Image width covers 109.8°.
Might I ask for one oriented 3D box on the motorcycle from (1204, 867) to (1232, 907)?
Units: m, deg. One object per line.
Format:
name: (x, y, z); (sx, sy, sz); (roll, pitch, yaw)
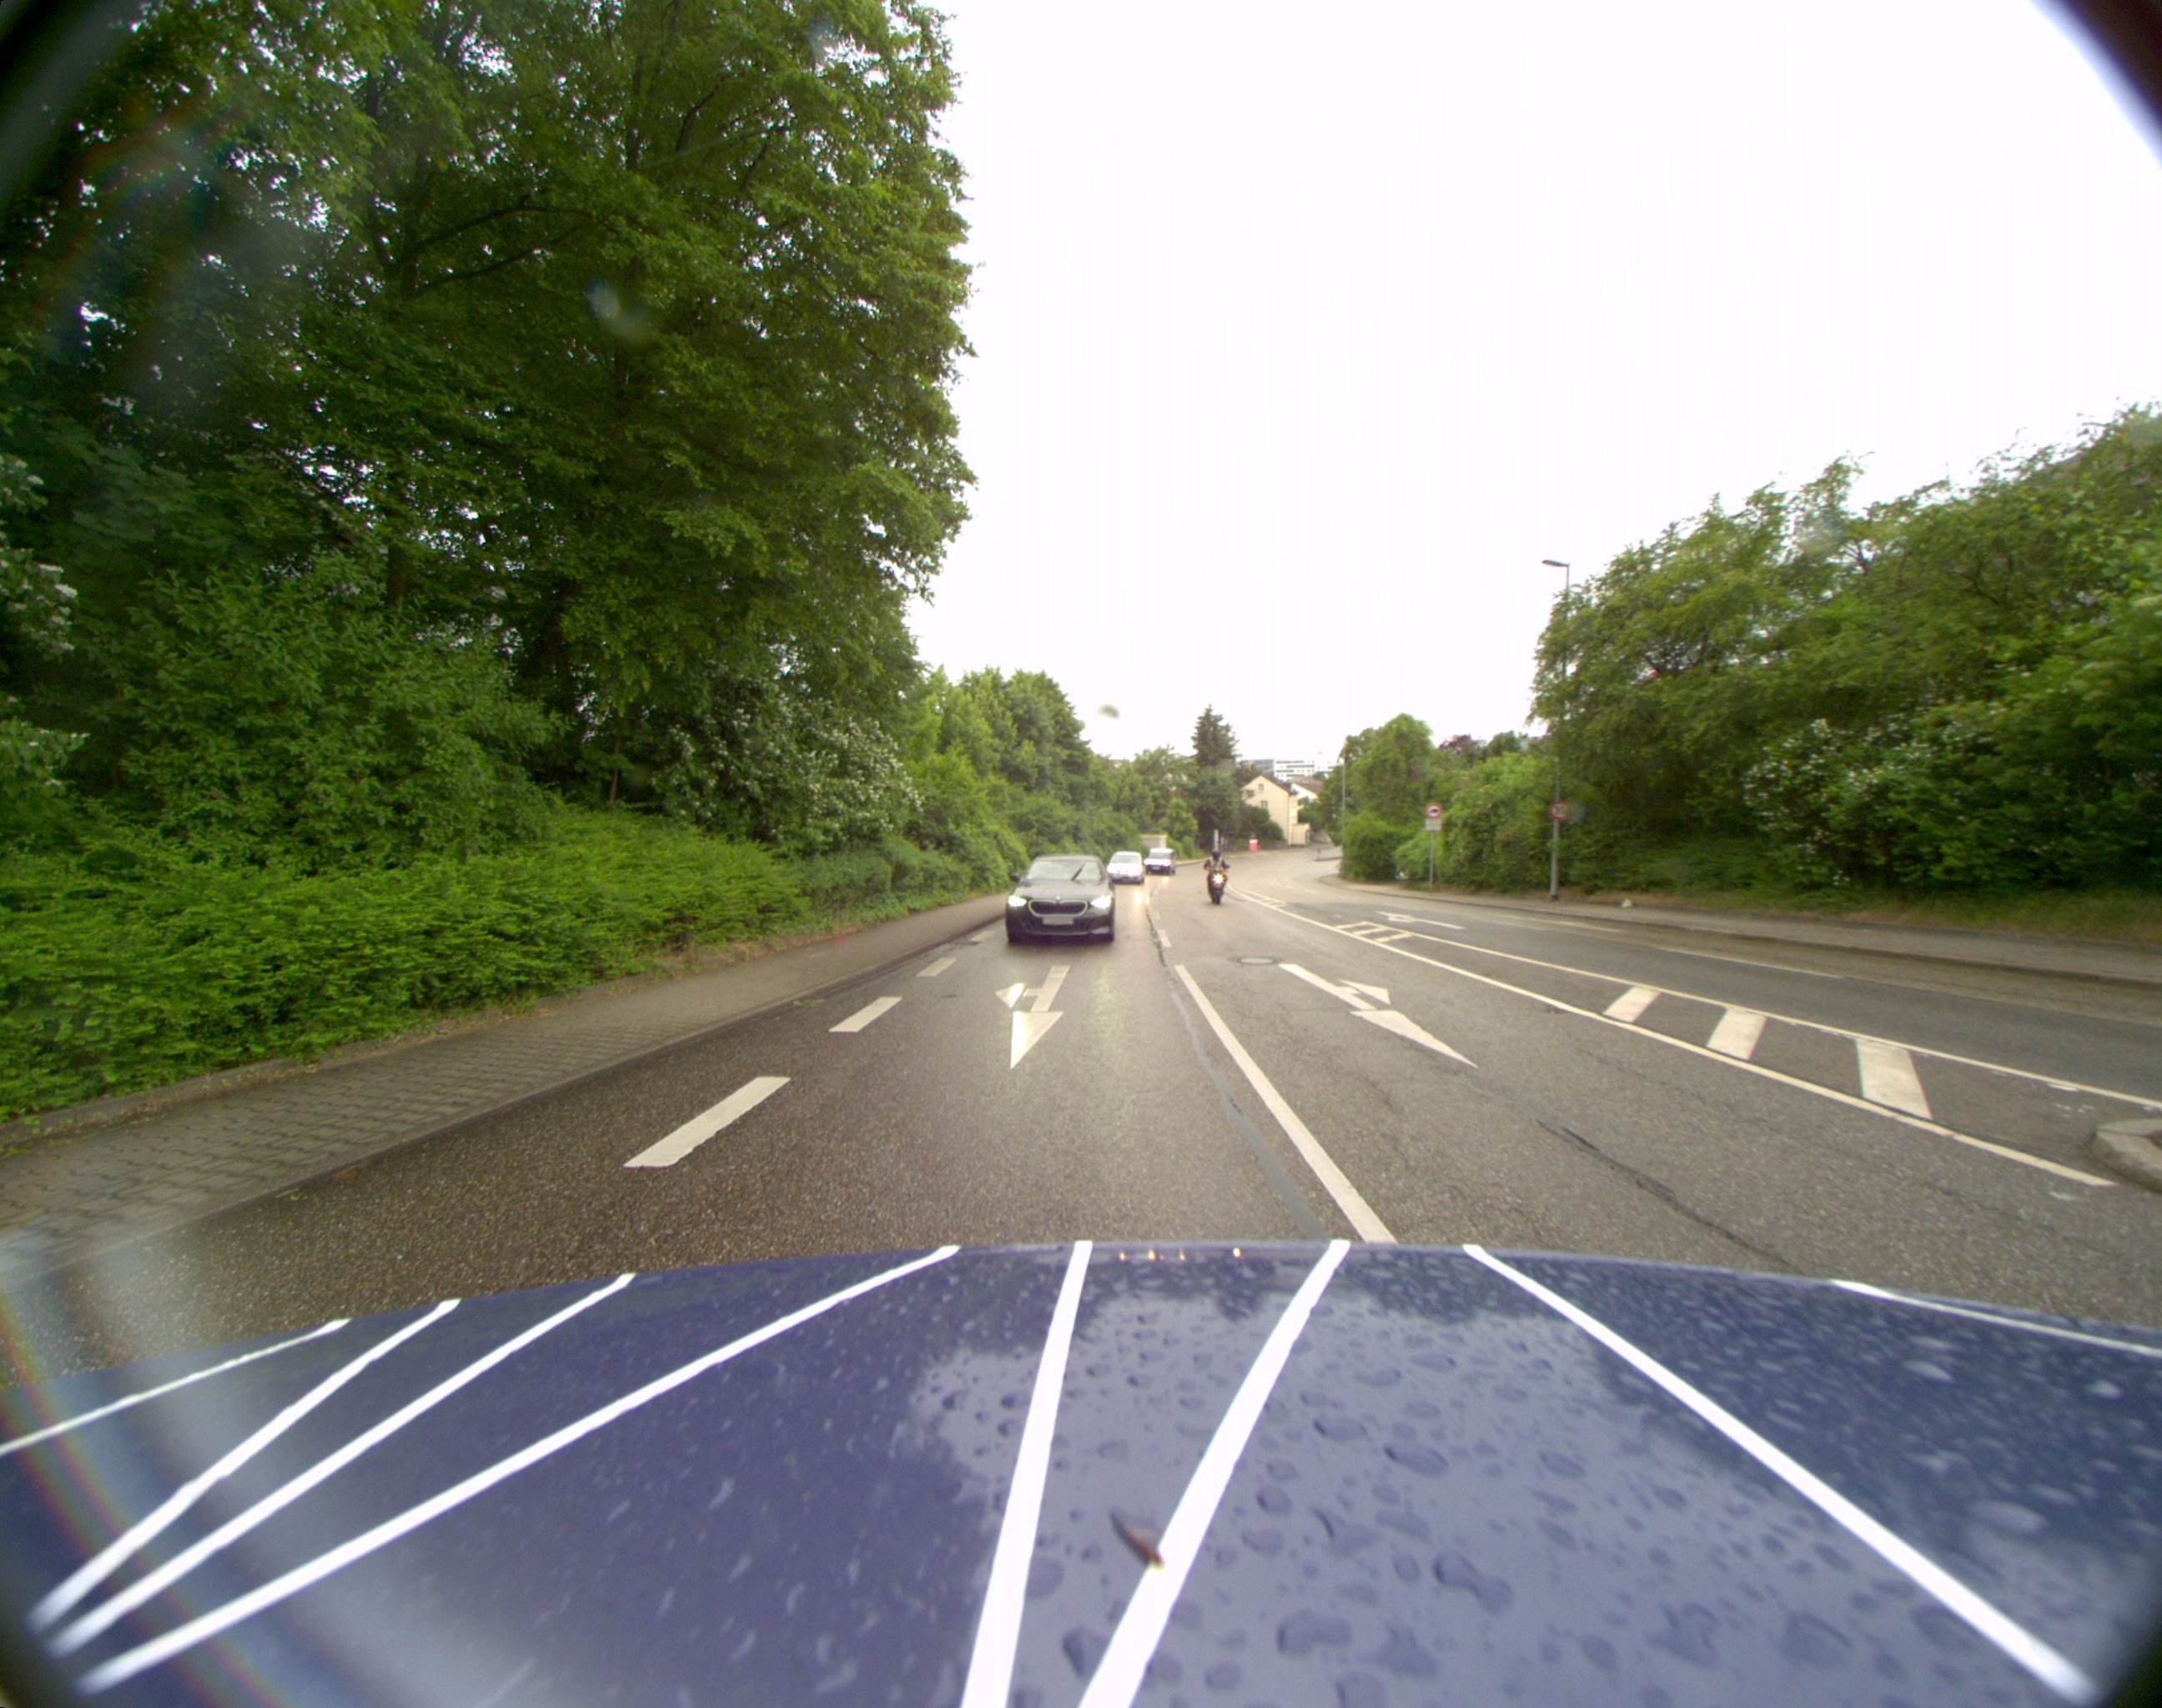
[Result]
motorcycle: (4.165, 0.986, 23.134); (0.692, 1.047, 1.747); (3, 2, 7)

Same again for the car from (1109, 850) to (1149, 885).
car: (2.383, 0.624, 37.427); (1.817, 1.431, 4.000); (3, 2, 4)

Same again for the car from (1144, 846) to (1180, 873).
car: (5.780, 0.336, 53.778); (1.775, 1.765, 4.005); (4, 2, 17)

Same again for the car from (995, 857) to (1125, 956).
car: (-0.235, 0.858, 14.409); (1.871, 1.497, 4.199); (1, 1, 6)

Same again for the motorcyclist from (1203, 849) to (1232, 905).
motorcyclist: (4.158, 0.690, 23.232); (0.766, 1.633, 0.674); (2, 2, 5)

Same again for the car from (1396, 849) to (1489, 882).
car: (18.543, 0.581, 39.140); (3.908, 1.432, 1.812); (-4, 0, 9)

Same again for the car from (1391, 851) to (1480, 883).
car: (19.450, 0.700, 41.852); (3.995, 1.527, 2.001); (-4, 0, 8)
